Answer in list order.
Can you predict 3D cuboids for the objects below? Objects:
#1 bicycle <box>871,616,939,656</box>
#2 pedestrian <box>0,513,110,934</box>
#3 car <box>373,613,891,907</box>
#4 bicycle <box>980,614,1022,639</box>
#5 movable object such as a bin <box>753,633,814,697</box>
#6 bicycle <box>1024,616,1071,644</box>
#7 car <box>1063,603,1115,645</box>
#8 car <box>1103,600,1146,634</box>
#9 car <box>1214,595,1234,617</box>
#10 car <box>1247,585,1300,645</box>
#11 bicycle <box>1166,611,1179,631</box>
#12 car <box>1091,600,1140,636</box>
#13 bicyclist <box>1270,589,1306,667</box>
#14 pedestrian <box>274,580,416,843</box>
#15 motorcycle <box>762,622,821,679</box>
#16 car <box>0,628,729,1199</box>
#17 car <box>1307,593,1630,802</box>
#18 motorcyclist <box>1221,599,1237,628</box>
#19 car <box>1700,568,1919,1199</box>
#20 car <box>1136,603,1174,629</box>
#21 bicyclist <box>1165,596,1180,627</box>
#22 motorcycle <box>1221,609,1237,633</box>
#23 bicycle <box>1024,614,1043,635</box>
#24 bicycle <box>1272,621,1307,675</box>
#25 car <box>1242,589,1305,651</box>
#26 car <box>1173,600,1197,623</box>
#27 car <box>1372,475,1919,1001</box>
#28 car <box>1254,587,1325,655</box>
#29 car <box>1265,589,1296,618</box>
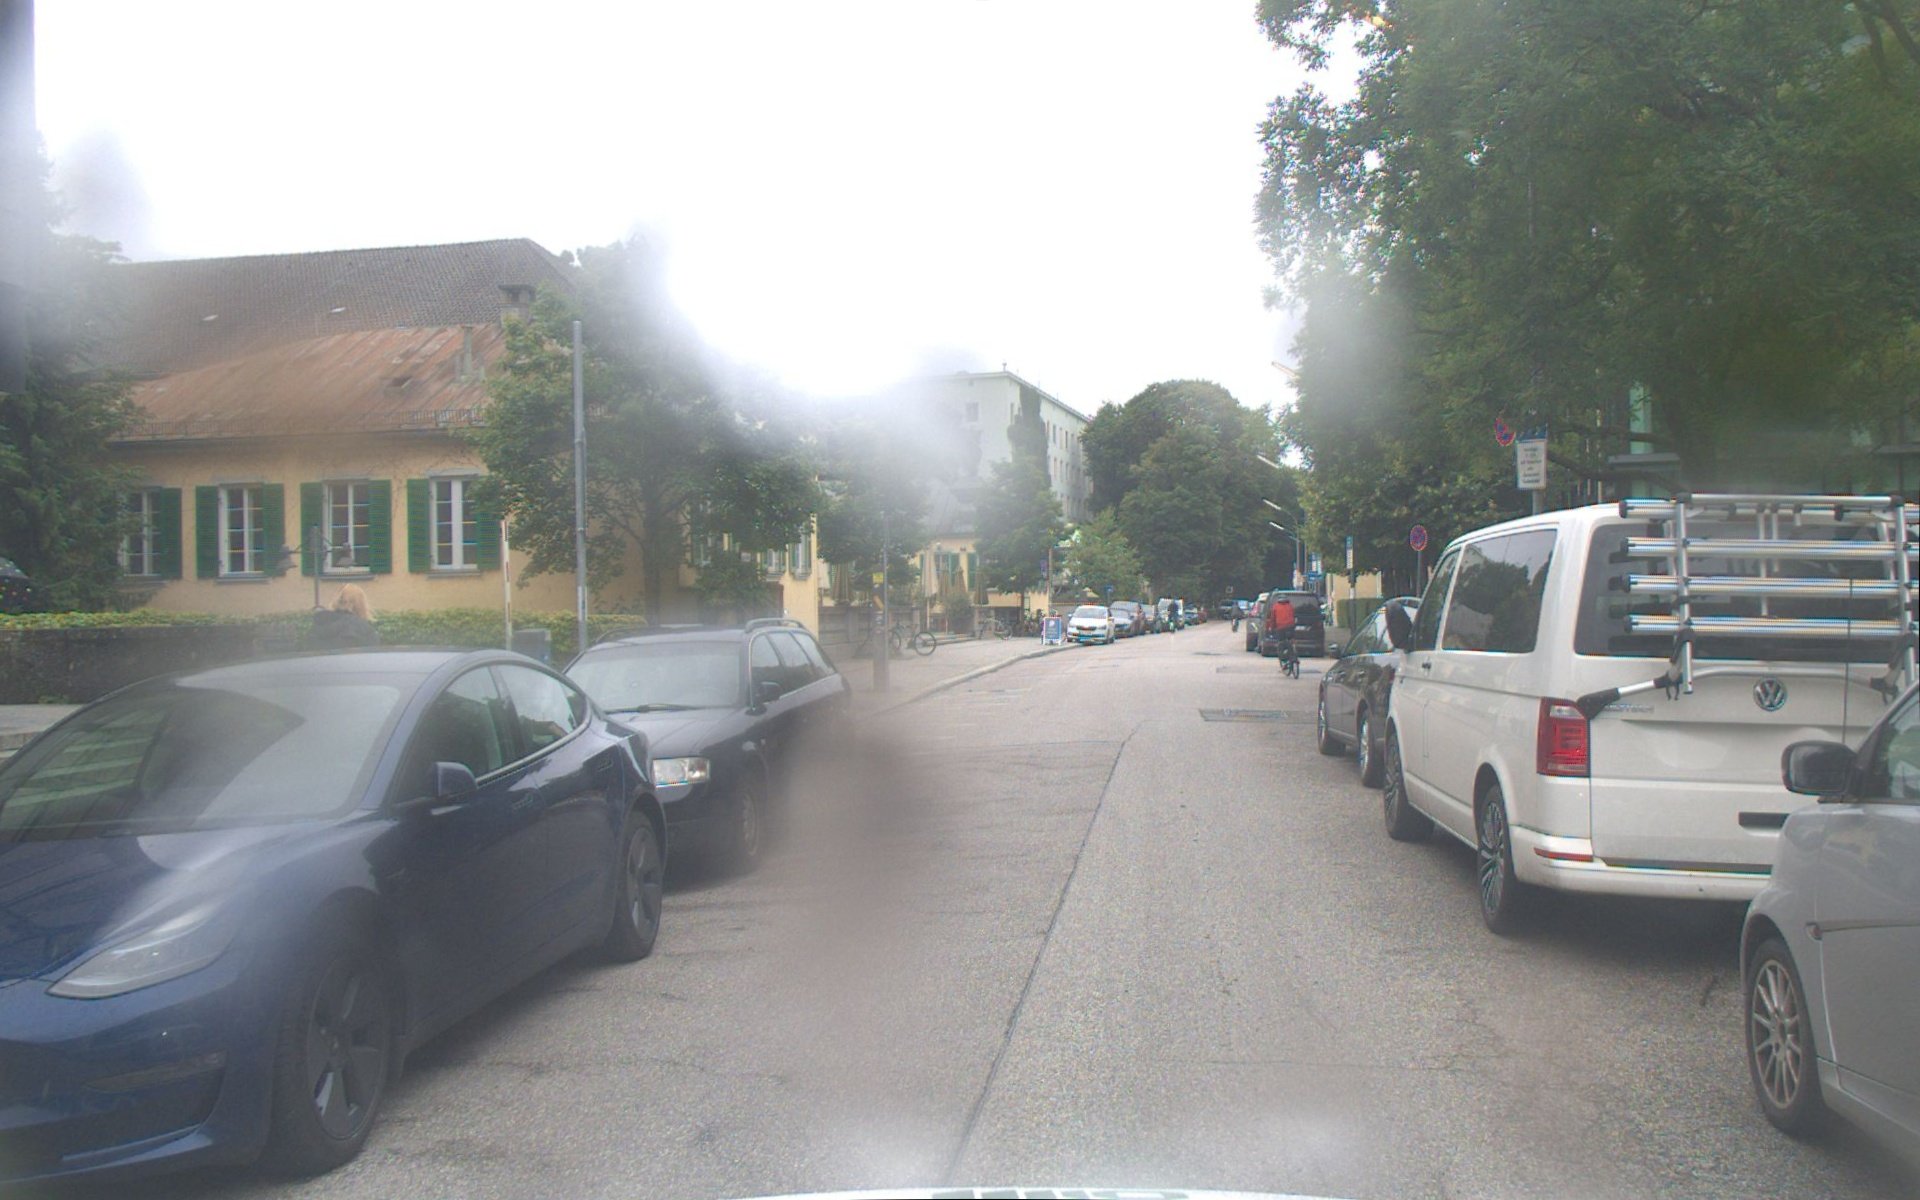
[{"bbox_3d":[-1.606,1.038,48.309,1.889,1.118,0.615,1,0,10],"label":"bicycle"},{"bbox_3d":[-5.317,0.632,8.529,1.111,2.090,1.222,-2,-1,6],"label":"pedestrian"},{"bbox_3d":[-1.916,0.906,11.467,1.951,1.517,4.887,-3,-1,8],"label":"car"},{"bbox_3d":[1.661,1.078,67.246,1.588,0.942,0.648,-1,-2,-17],"label":"bicycle"},{"bbox_3d":[-3.139,1.153,29.410,0.915,1.082,0.841,-1,0,5],"label":"movable object such as a bin"},{"bbox_3d":[3.315,1.129,62.689,0.612,1.021,2.128,2,1,40],"label":"bicycle"},{"bbox_3d":[5.257,0.952,66.988,1.697,1.609,3.791,2,0,10],"label":"car"},{"bbox_3d":[8.384,0.877,84.301,1.951,1.631,4.003,-1,-1,9],"label":"car"},{"bbox_3d":[27.115,0.597,169.654,1.951,2.135,4.003,2,0,9],"label":"car"},{"bbox_3d":[11.049,0.508,58.257,1.712,1.977,4.231,-1,0,11],"label":"car"},{"bbox_3d":[11.180,1.108,86.965,0.608,1.022,2.141,-1,0,6],"label":"bicycle"},{"bbox_3d":[7.483,0.843,79.404,1.951,1.677,4.659,-1,0,10],"label":"car"},{"bbox_3d":[6.585,0.564,33.195,0.657,1.524,1.095,-1,-2,10],"label":"bicyclist"},{"bbox_3d":[-4.369,0.762,11.810,0.739,1.780,0.951,-1,-1,-9],"label":"pedestrian"},{"bbox_3d":[-3.522,1.037,34.460,0.551,1.120,1.820,1,0,-29],"label":"motorcycle"},{"bbox_3d":[-2.412,0.907,6.222,1.882,1.464,4.921,-3,-1,6],"label":"car"},{"bbox_3d":[4.322,0.725,14.866,1.734,1.516,4.976,1,0,5],"label":"car"},{"bbox_3d":[14.212,0.709,87.322,0.775,1.536,1.149,-1,-1,13],"label":"motorcyclist"},{"bbox_3d":[3.020,0.726,3.851,1.571,1.573,2.936,1,0,7],"label":"car"},{"bbox_3d":[12.054,0.991,101.950,1.951,1.512,4.003,-1,0,12],"label":"car"},{"bbox_3d":[11.171,0.610,87.064,0.727,1.603,0.978,-1,0,7],"label":"bicyclist"},{"bbox_3d":[14.209,1.101,87.298,0.646,1.227,2.244,-1,0,13],"label":"motorcycle"},{"bbox_3d":[3.516,1.173,79.053,0.608,1.022,1.620,-1,-2,13],"label":"bicycle"},{"bbox_3d":[6.589,0.960,33.153,0.608,1.022,2.142,-1,-2,10],"label":"bicycle"},{"bbox_3d":[9.843,0.592,52.151,1.823,1.825,4.513,-1,0,10],"label":"car"},{"bbox_3d":[18.069,0.904,132.796,1.771,1.712,4.003,-1,0,9],"label":"car"},{"bbox_3d":[3.539,0.527,8.932,1.806,1.967,5.276,2,0,6],"label":"car"},{"bbox_3d":[9.390,0.583,47.341,1.723,1.855,4.142,0,0,7],"label":"car"},{"bbox_3d":[23.250,0.250,120.181,1.951,2.096,4.627,-1,0,8],"label":"car"}]
